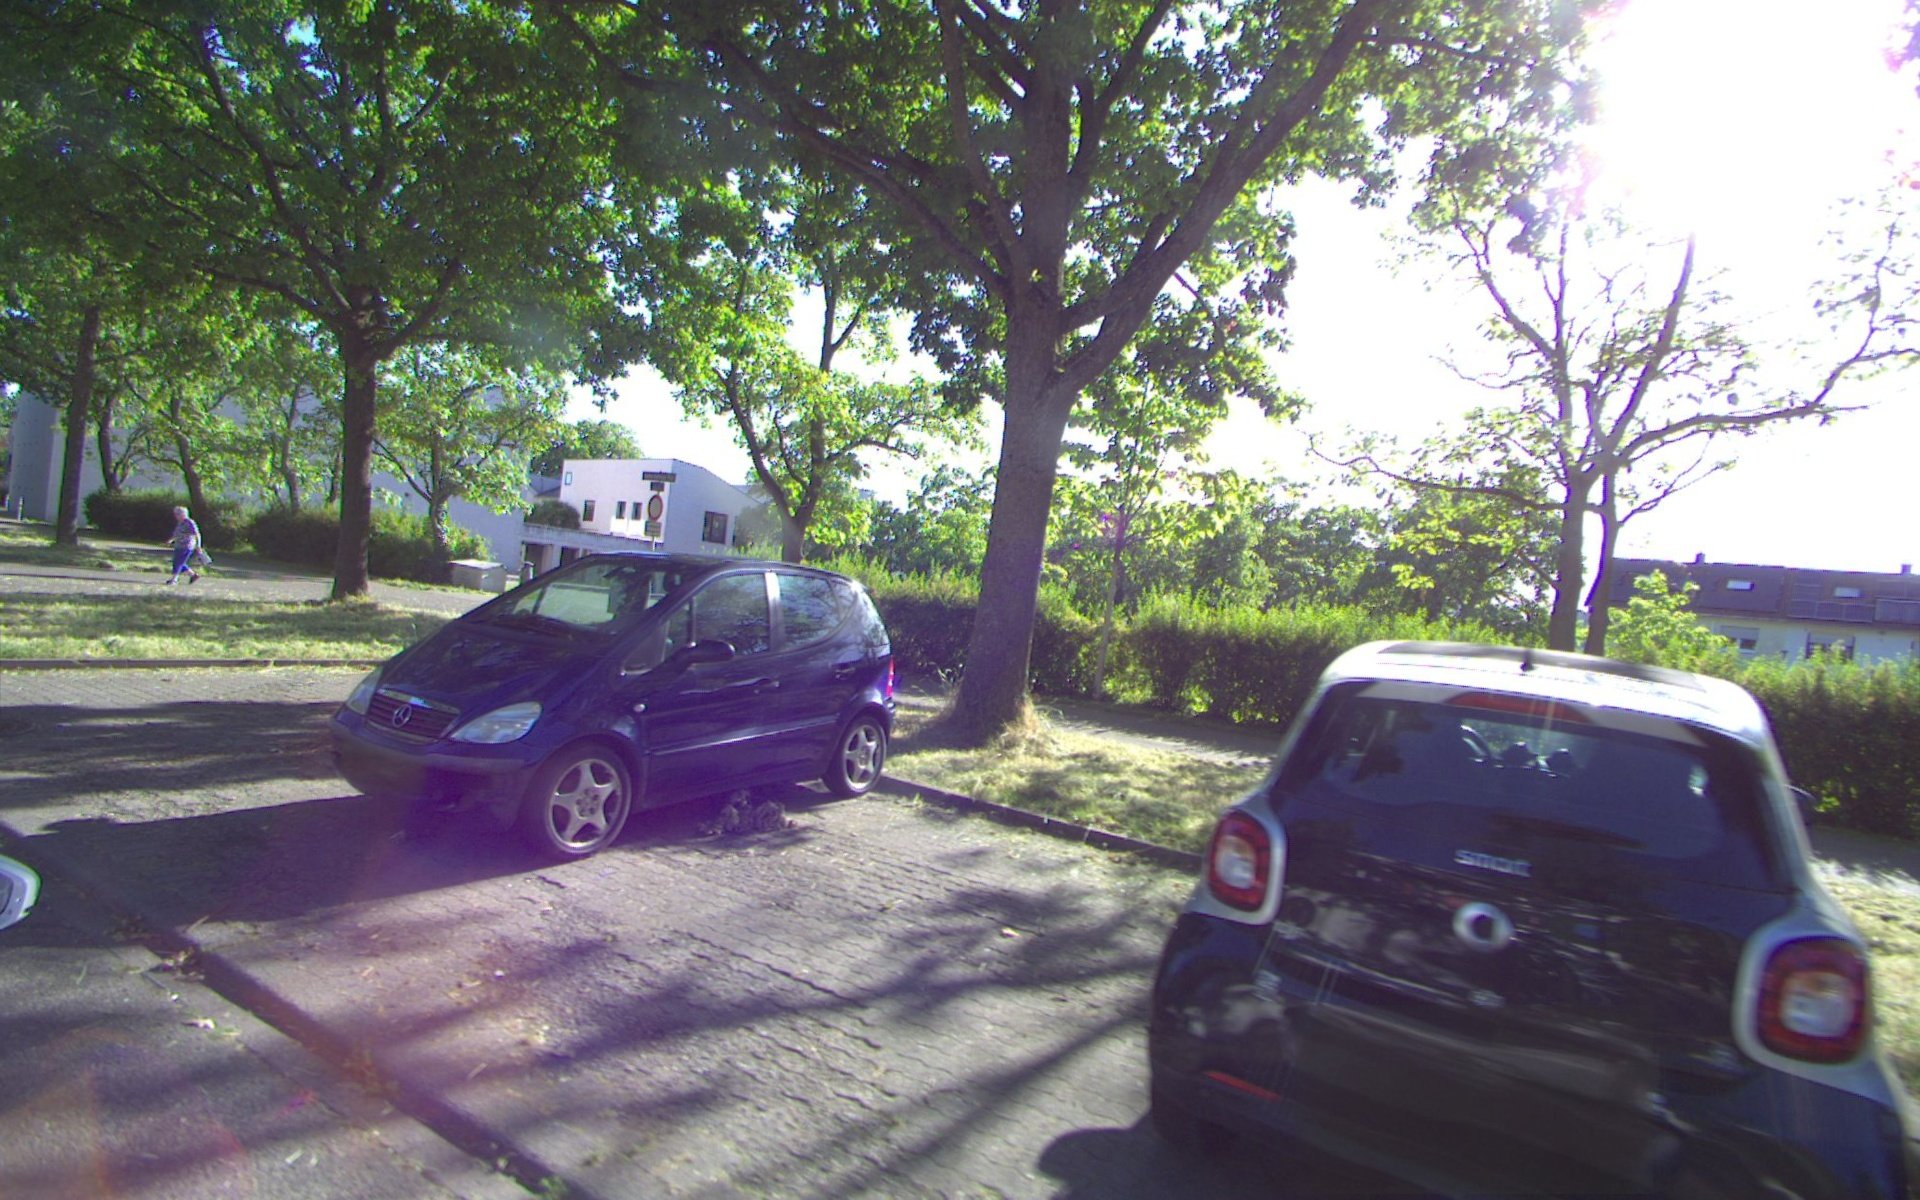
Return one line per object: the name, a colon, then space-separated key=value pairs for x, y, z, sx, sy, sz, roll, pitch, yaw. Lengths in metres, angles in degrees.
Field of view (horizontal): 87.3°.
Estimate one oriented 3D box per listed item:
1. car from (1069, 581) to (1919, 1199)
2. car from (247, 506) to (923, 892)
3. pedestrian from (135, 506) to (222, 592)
car: x=2.046 y=0.914 z=3.640 sx=1.757 sy=1.597 sz=3.585 roll=7 pitch=1 yaw=32
car: x=-2.019 y=0.470 z=6.378 sx=1.826 sy=1.597 sz=3.587 roll=7 pitch=1 yaw=30
pedestrian: x=-15.034 y=-0.969 z=19.384 sx=0.870 sy=1.519 sz=0.941 roll=6 pitch=2 yaw=-8
